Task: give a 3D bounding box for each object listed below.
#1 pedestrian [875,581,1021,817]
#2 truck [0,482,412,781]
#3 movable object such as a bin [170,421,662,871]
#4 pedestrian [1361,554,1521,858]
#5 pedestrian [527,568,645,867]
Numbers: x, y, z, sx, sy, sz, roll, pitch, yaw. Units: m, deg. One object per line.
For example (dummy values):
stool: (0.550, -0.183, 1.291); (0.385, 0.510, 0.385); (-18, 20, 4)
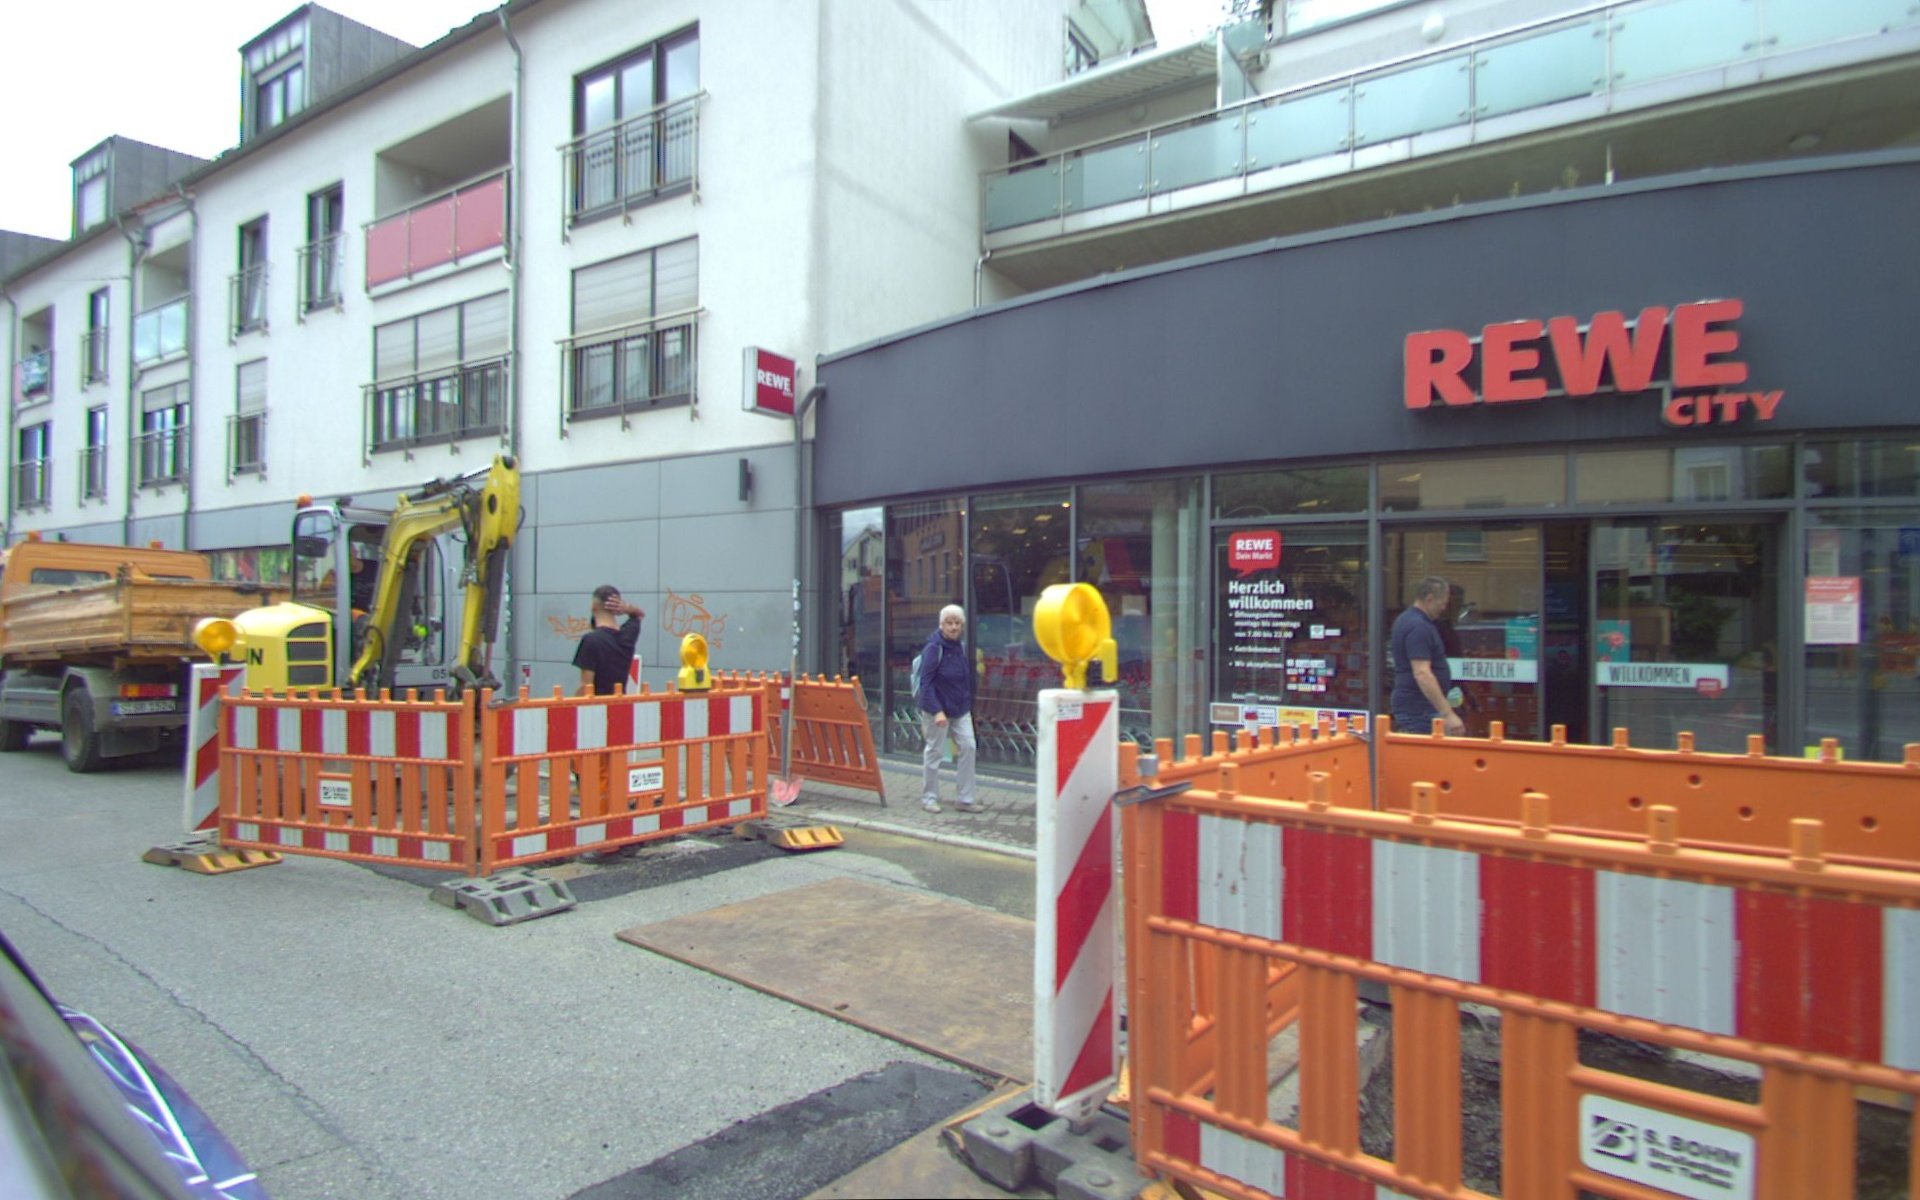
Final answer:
pedestrian: (-0.093, 0.742, 8.016); (0.815, 1.726, 0.823); (-2, -3, 41)
truck: (-9.811, 0.418, 12.400); (6.832, 2.746, 2.707); (-2, -3, 35)
movable object such as a bin: (-4.636, 0.307, 8.355); (4.498, 2.784, 1.822); (0, -2, 37)
pedestrian: (3.207, 0.661, 6.743); (0.788, 1.858, 0.745); (-2, -2, 39)
pedestrian: (-2.327, 0.700, 6.314); (0.443, 1.757, 0.532); (-2, -3, 39)
